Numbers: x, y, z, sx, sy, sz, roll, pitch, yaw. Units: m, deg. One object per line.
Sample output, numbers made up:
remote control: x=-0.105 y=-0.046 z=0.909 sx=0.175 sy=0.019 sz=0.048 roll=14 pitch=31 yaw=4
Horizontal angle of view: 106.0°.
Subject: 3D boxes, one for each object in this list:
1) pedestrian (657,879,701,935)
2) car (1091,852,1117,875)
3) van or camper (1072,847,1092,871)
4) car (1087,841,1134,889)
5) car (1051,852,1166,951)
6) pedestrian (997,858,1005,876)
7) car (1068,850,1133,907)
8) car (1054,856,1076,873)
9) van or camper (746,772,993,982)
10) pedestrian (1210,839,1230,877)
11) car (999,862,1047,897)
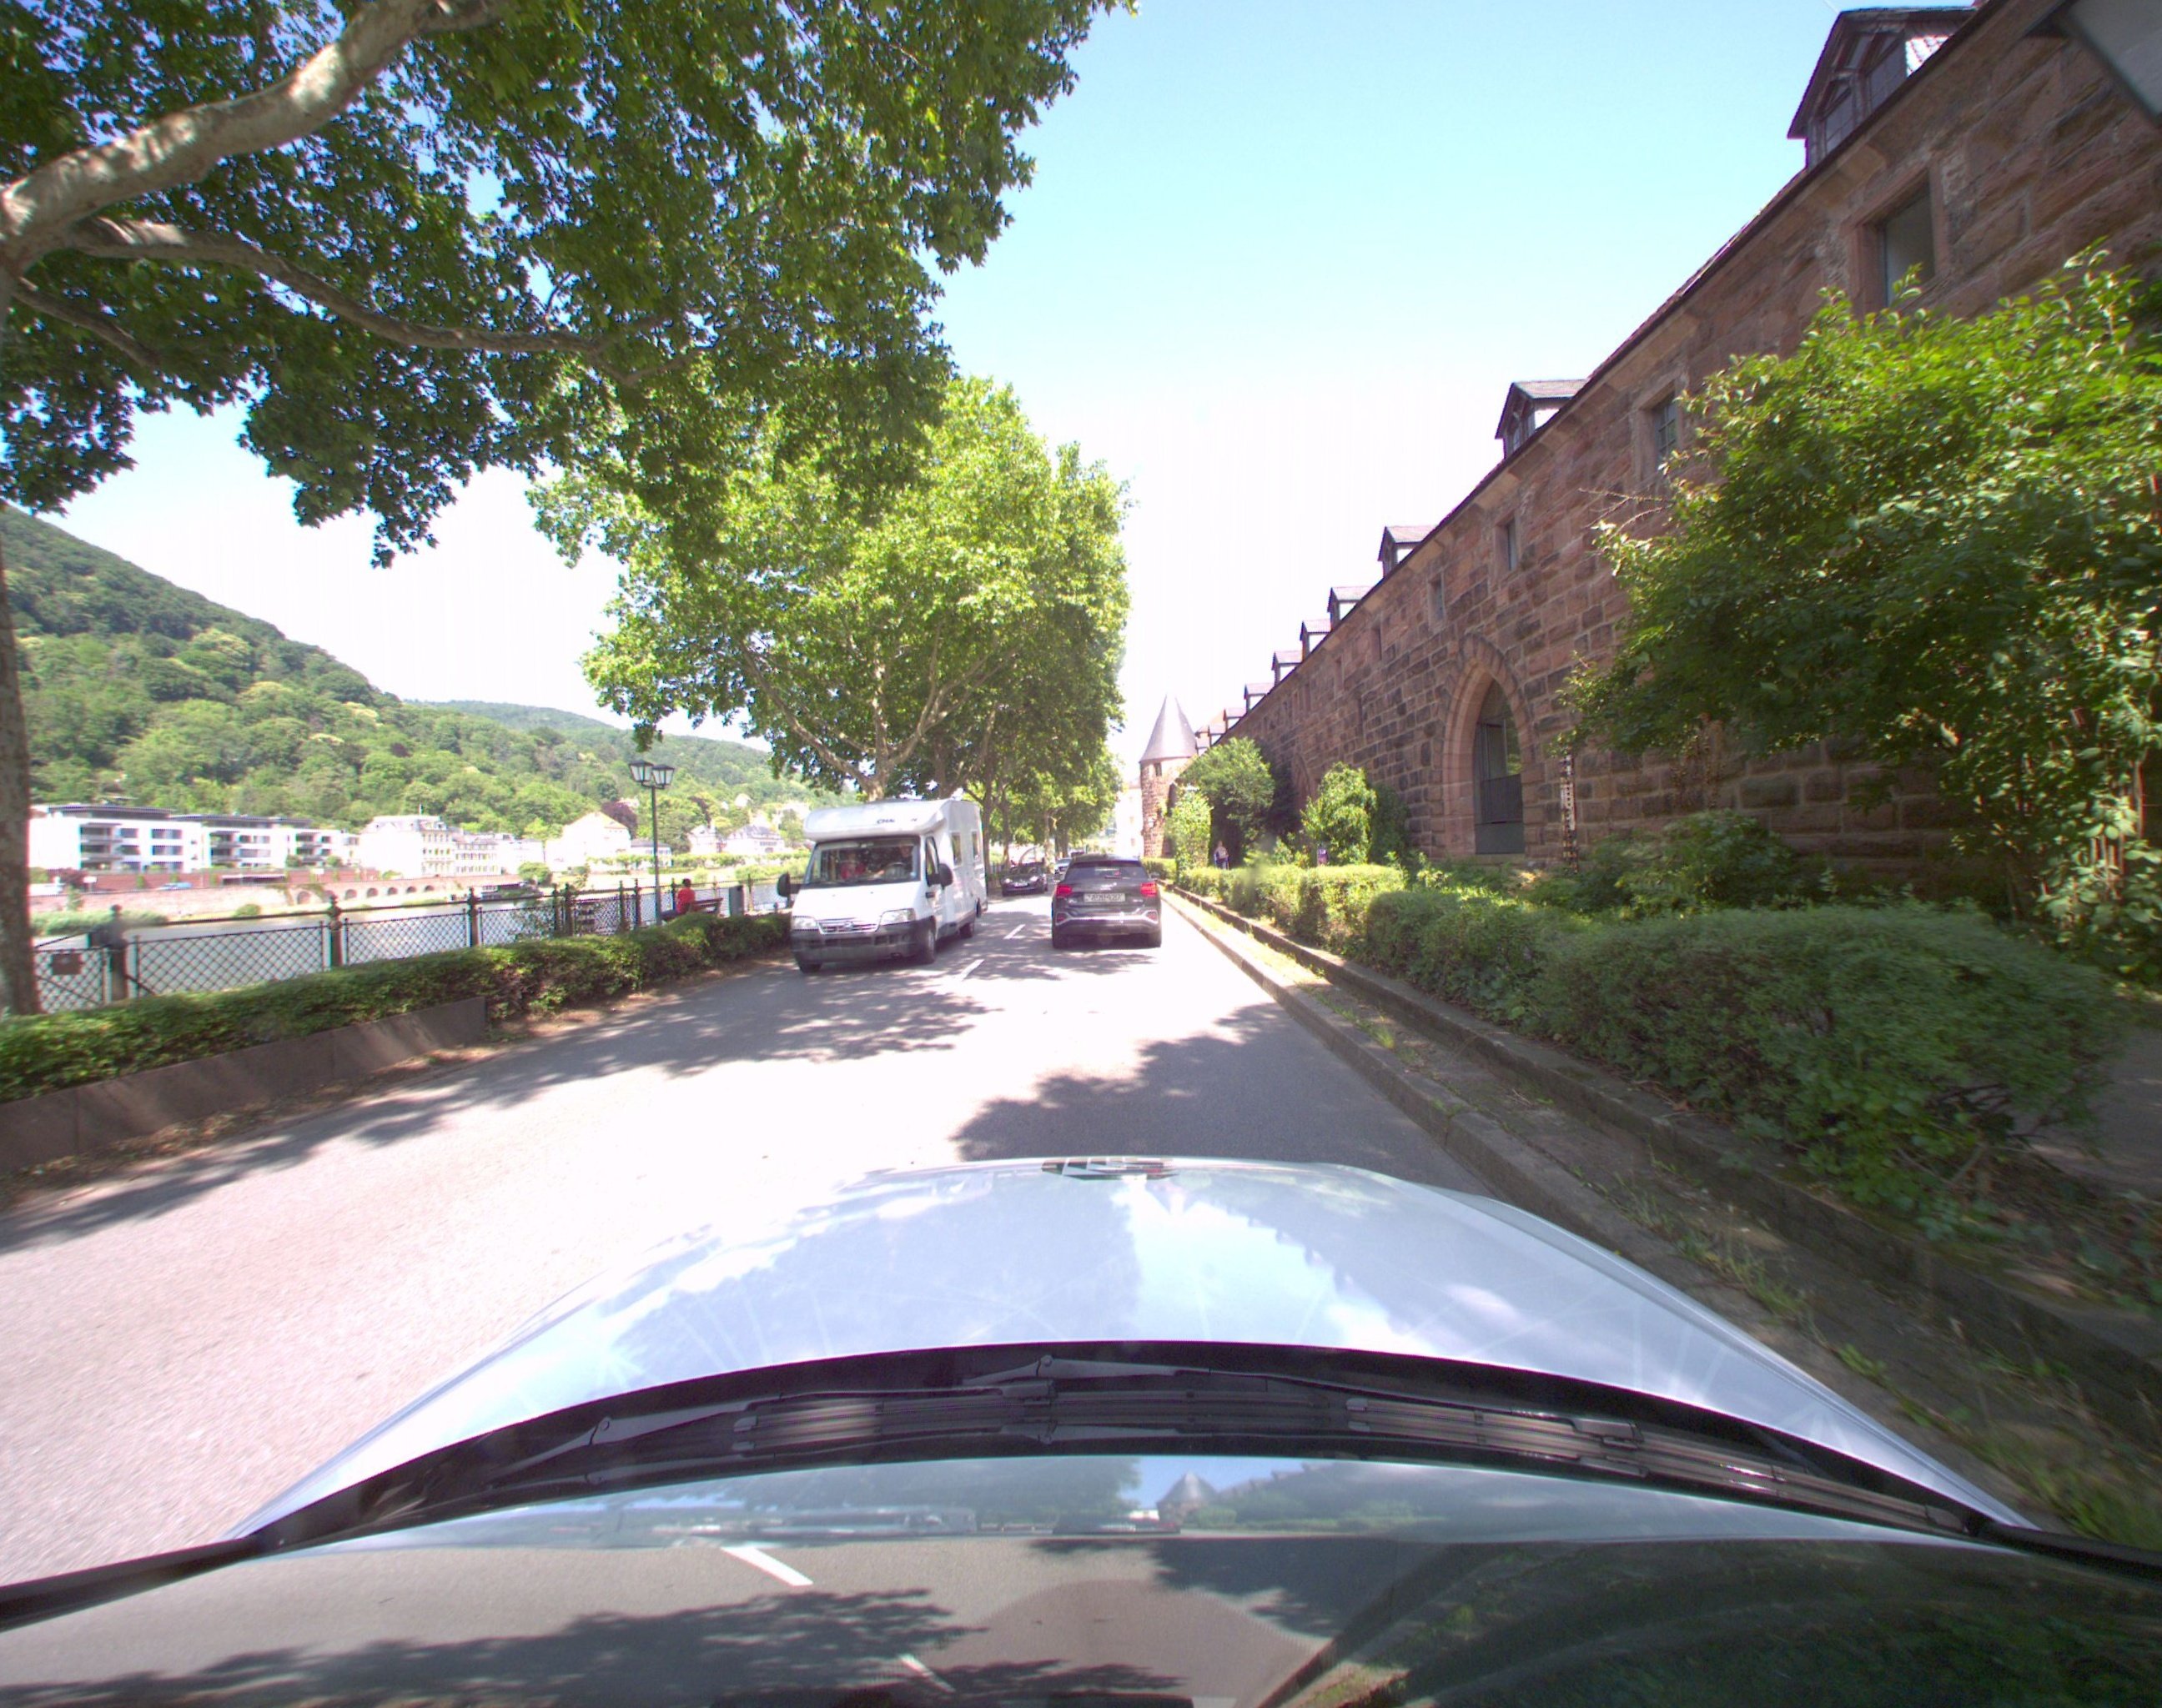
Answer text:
pedestrian: x=-9.619 y=1.266 z=19.509 sx=0.700 sy=1.308 sz=0.657 roll=0 pitch=-1 yaw=2
car: x=1.634 y=0.672 z=58.555 sx=1.763 sy=1.457 sz=4.534 roll=-4 pitch=0 yaw=1
van or camper: x=0.172 y=0.604 z=96.015 sx=1.953 sy=2.567 sz=5.843 roll=-5 pitch=-1 yaw=2
car: x=1.363 y=0.482 z=38.066 sx=1.986 sy=2.013 sz=4.002 roll=-4 pitch=0 yaw=2
car: x=0.449 y=0.734 z=14.351 sx=1.742 sy=1.494 sz=3.629 roll=-1 pitch=0 yaw=1
pedestrian: x=-7.124 y=1.152 z=72.540 sx=0.455 sy=1.554 sz=0.586 roll=-4 pitch=0 yaw=1
car: x=0.691 y=0.709 z=25.686 sx=1.793 sy=1.562 sz=3.719 roll=-4 pitch=0 yaw=4
car: x=-1.445 y=0.998 z=76.124 sx=1.763 sy=1.457 sz=4.534 roll=-4 pitch=0 yaw=1
van or camper: x=-3.194 y=0.333 z=14.126 sx=2.314 sy=2.662 sz=6.266 roll=-4 pitch=-1 yaw=2
pedestrian: x=6.326 y=0.187 z=37.094 sx=0.695 sy=1.652 sz=0.705 roll=-4 pitch=0 yaw=4
car: x=-2.361 y=1.035 z=34.119 sx=1.693 sy=1.211 sz=3.484 roll=-5 pitch=0 yaw=-1
